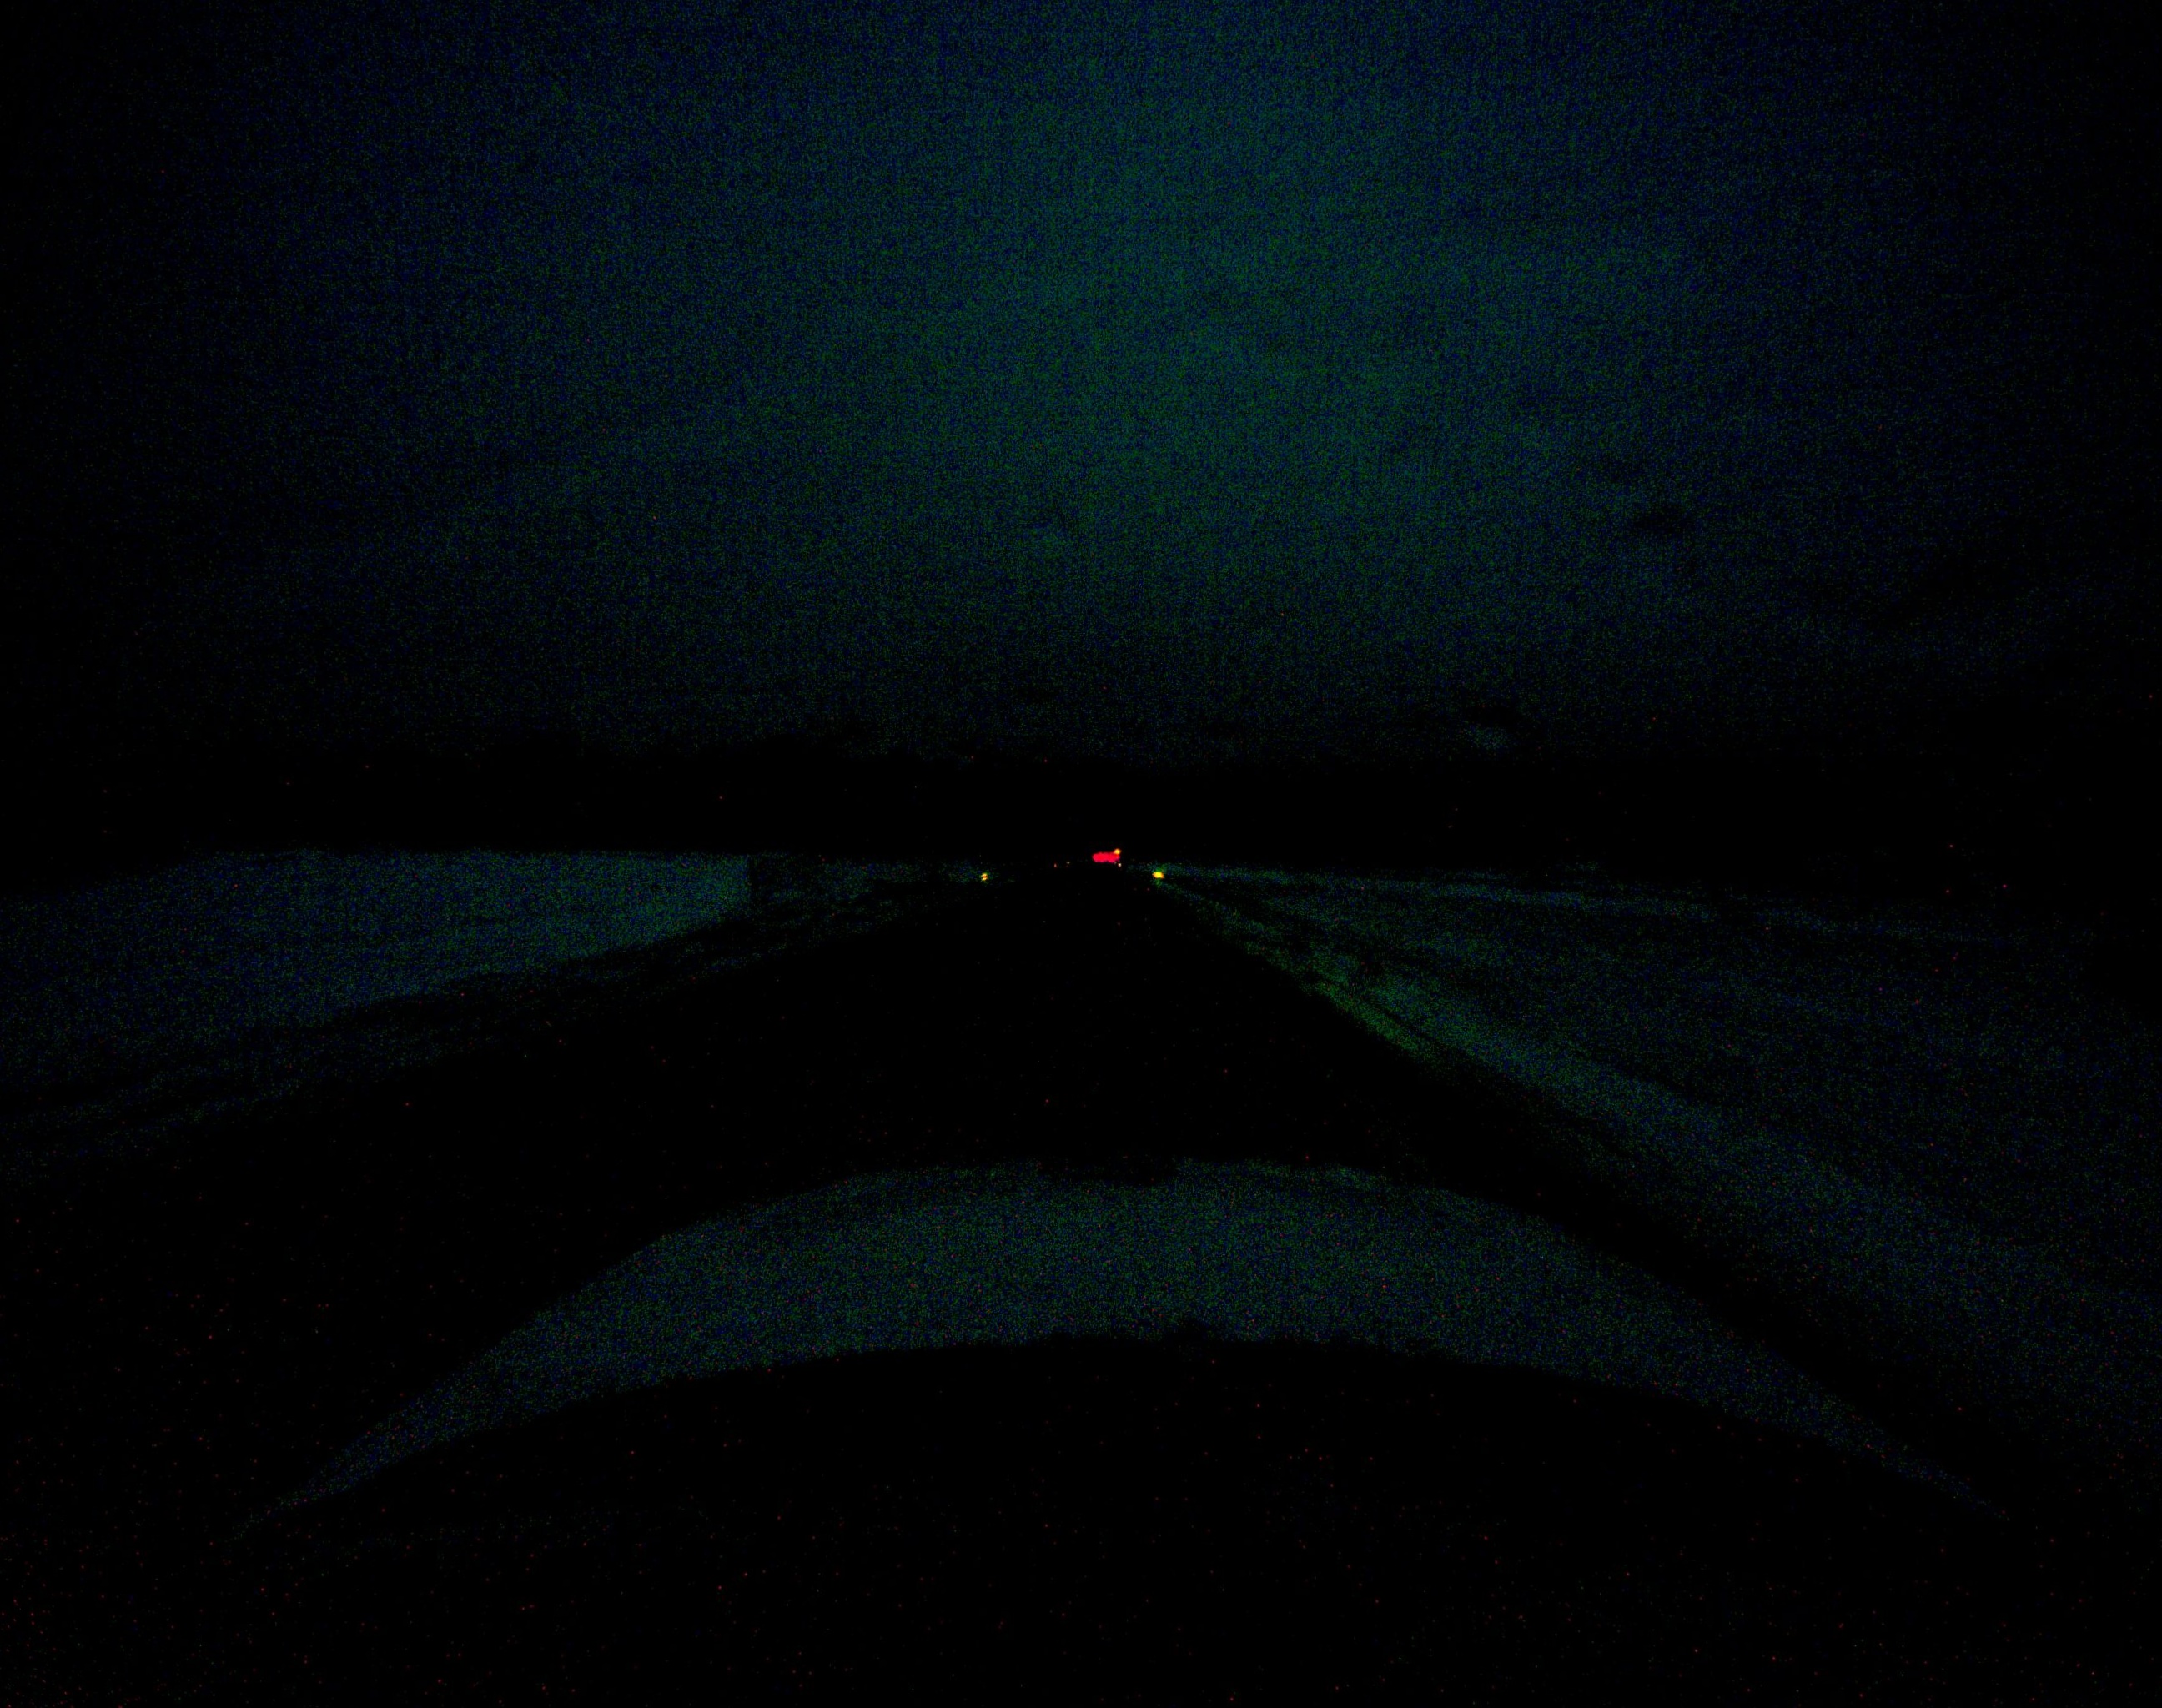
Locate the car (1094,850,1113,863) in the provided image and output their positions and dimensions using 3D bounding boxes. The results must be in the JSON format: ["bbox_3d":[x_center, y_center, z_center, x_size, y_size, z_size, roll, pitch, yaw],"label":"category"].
[{"bbox_3d":[3.778,0.425,134.558,1.978,2.052,4.018,2,0,18],"label":"car"}]
